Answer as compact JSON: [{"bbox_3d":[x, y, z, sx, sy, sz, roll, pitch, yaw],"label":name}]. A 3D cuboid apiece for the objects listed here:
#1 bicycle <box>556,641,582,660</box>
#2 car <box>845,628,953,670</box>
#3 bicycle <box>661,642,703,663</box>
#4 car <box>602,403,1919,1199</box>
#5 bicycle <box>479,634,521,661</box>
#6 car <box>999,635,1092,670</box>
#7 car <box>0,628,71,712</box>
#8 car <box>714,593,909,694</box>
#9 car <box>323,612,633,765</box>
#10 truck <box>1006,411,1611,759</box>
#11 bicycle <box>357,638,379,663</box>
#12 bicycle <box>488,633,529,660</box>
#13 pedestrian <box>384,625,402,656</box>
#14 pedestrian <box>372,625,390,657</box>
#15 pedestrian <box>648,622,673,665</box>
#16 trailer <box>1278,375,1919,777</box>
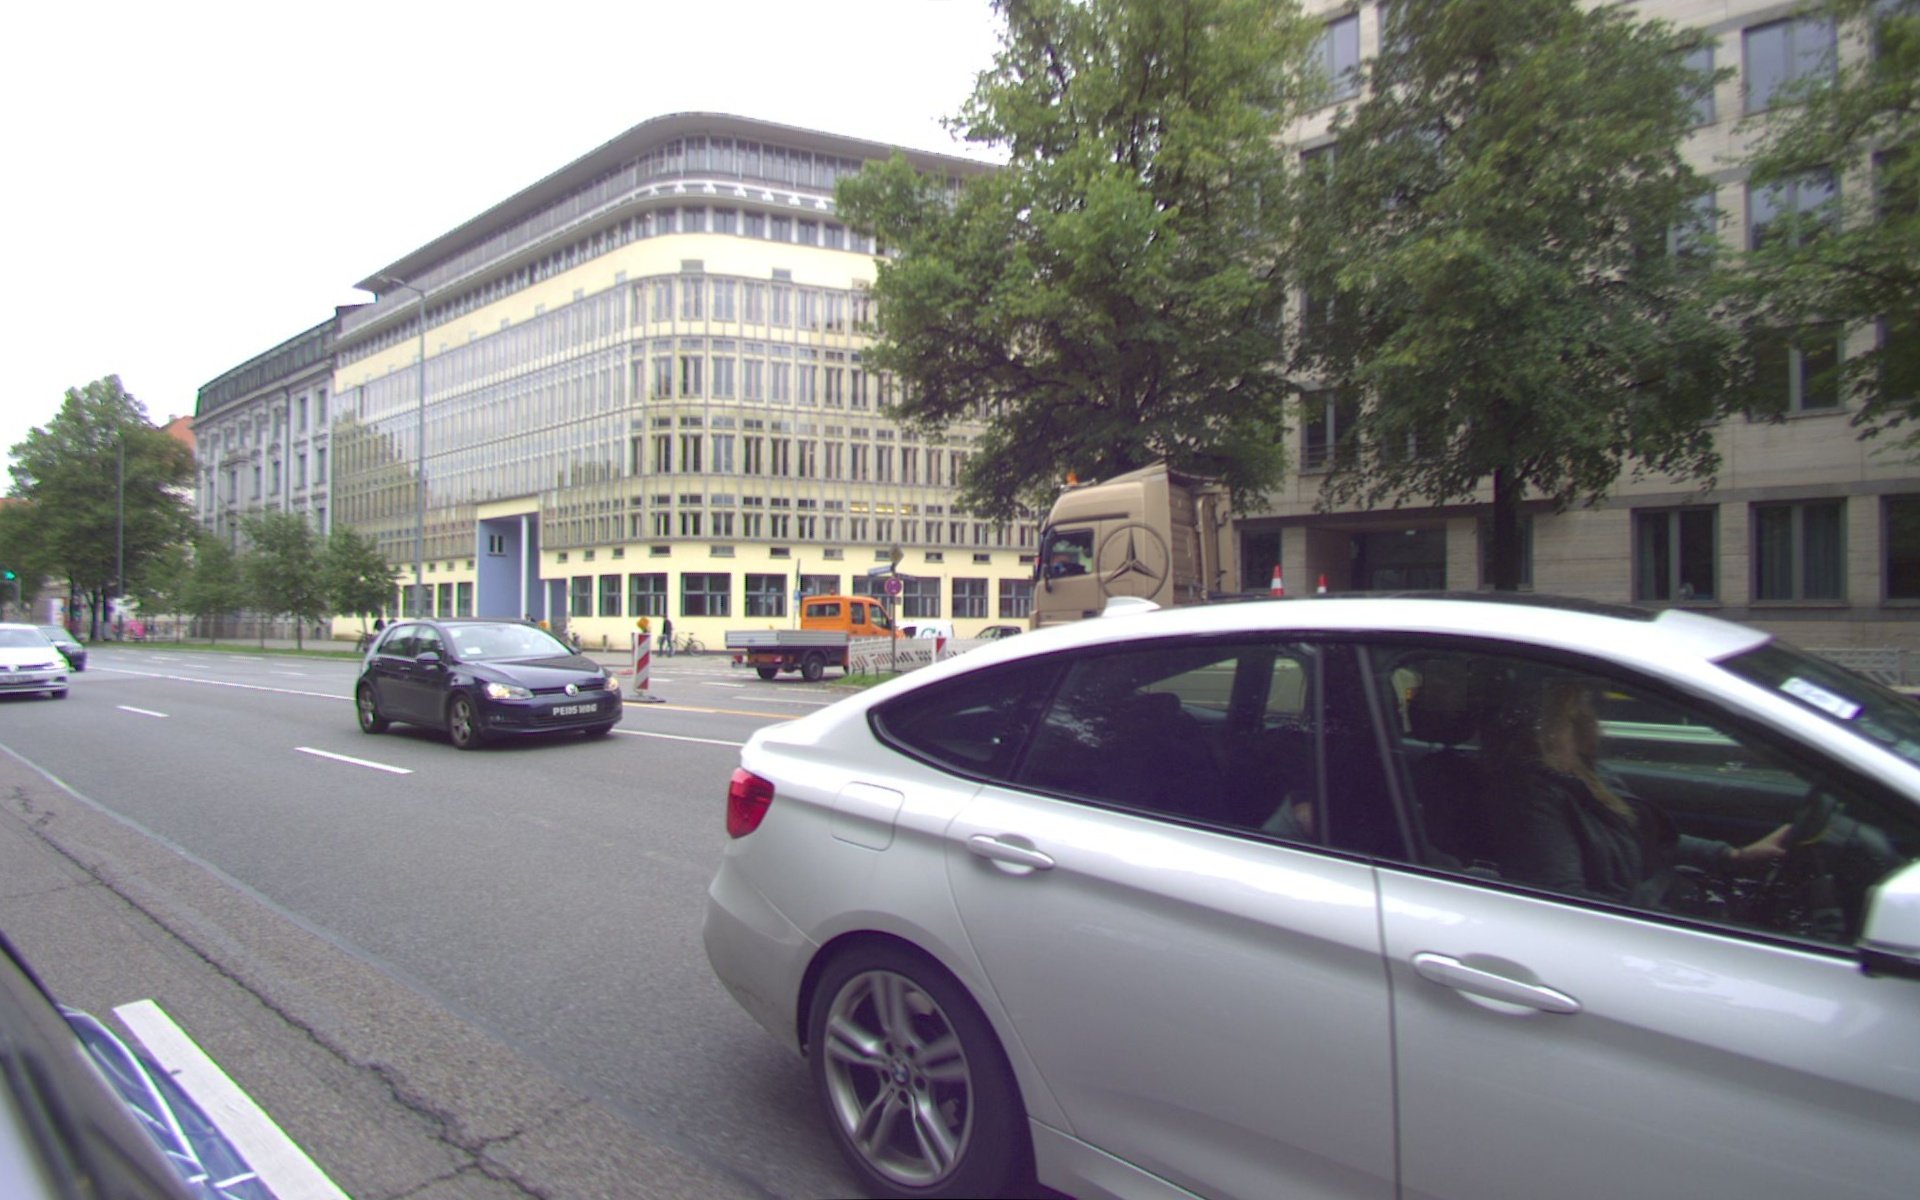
[{"bbox_3d":[-18.447,2.370,47.722,1.737,0.884,0.471,-2,-3,43],"label":"bicycle"},{"bbox_3d":[-2.651,2.086,43.831,4.254,1.763,1.876,0,-2,-21],"label":"car"},{"bbox_3d":[-11.996,2.244,43.723,1.709,0.884,0.587,0,-2,-8],"label":"bicycle"},{"bbox_3d":[1.382,0.606,2.216,5.022,1.649,1.774,-1,-2,40],"label":"car"},{"bbox_3d":[-24.624,2.521,54.234,0.637,1.328,1.991,-1,-1,34],"label":"bicycle"},{"bbox_3d":[3.861,2.340,45.699,3.896,1.509,1.494,1,-2,-22],"label":"car"},{"bbox_3d":[-18.552,1.273,19.291,4.271,1.458,1.774,-1,-2,40],"label":"car"},{"bbox_3d":[-4.046,1.180,28.617,2.152,2.556,5.629,-1,-2,36],"label":"car"},{"bbox_3d":[-5.913,0.948,12.194,4.334,1.528,1.674,-1,-2,39],"label":"car"},{"bbox_3d":[4.655,-0.098,14.493,7.650,3.803,2.890,-1,-1,36],"label":"truck"},{"bbox_3d":[-24.888,2.113,42.526,1.382,1.020,0.278,-1,-1,37],"label":"bicycle"},{"bbox_3d":[-24.038,2.470,53.877,0.573,1.328,1.991,-1,-1,34],"label":"bicycle"},{"bbox_3d":[-32.731,2.339,58.405,0.835,1.790,0.609,-2,-1,40],"label":"pedestrian"},{"bbox_3d":[-33.139,2.351,57.913,0.835,1.790,0.609,-2,-1,40],"label":"pedestrian"},{"bbox_3d":[-12.647,1.828,42.734,0.978,1.746,0.817,-1,-1,-19],"label":"pedestrian"},{"bbox_3d":[9.724,-0.229,10.779,11.746,3.768,2.923,-1,-1,36],"label":"trailer"}]
